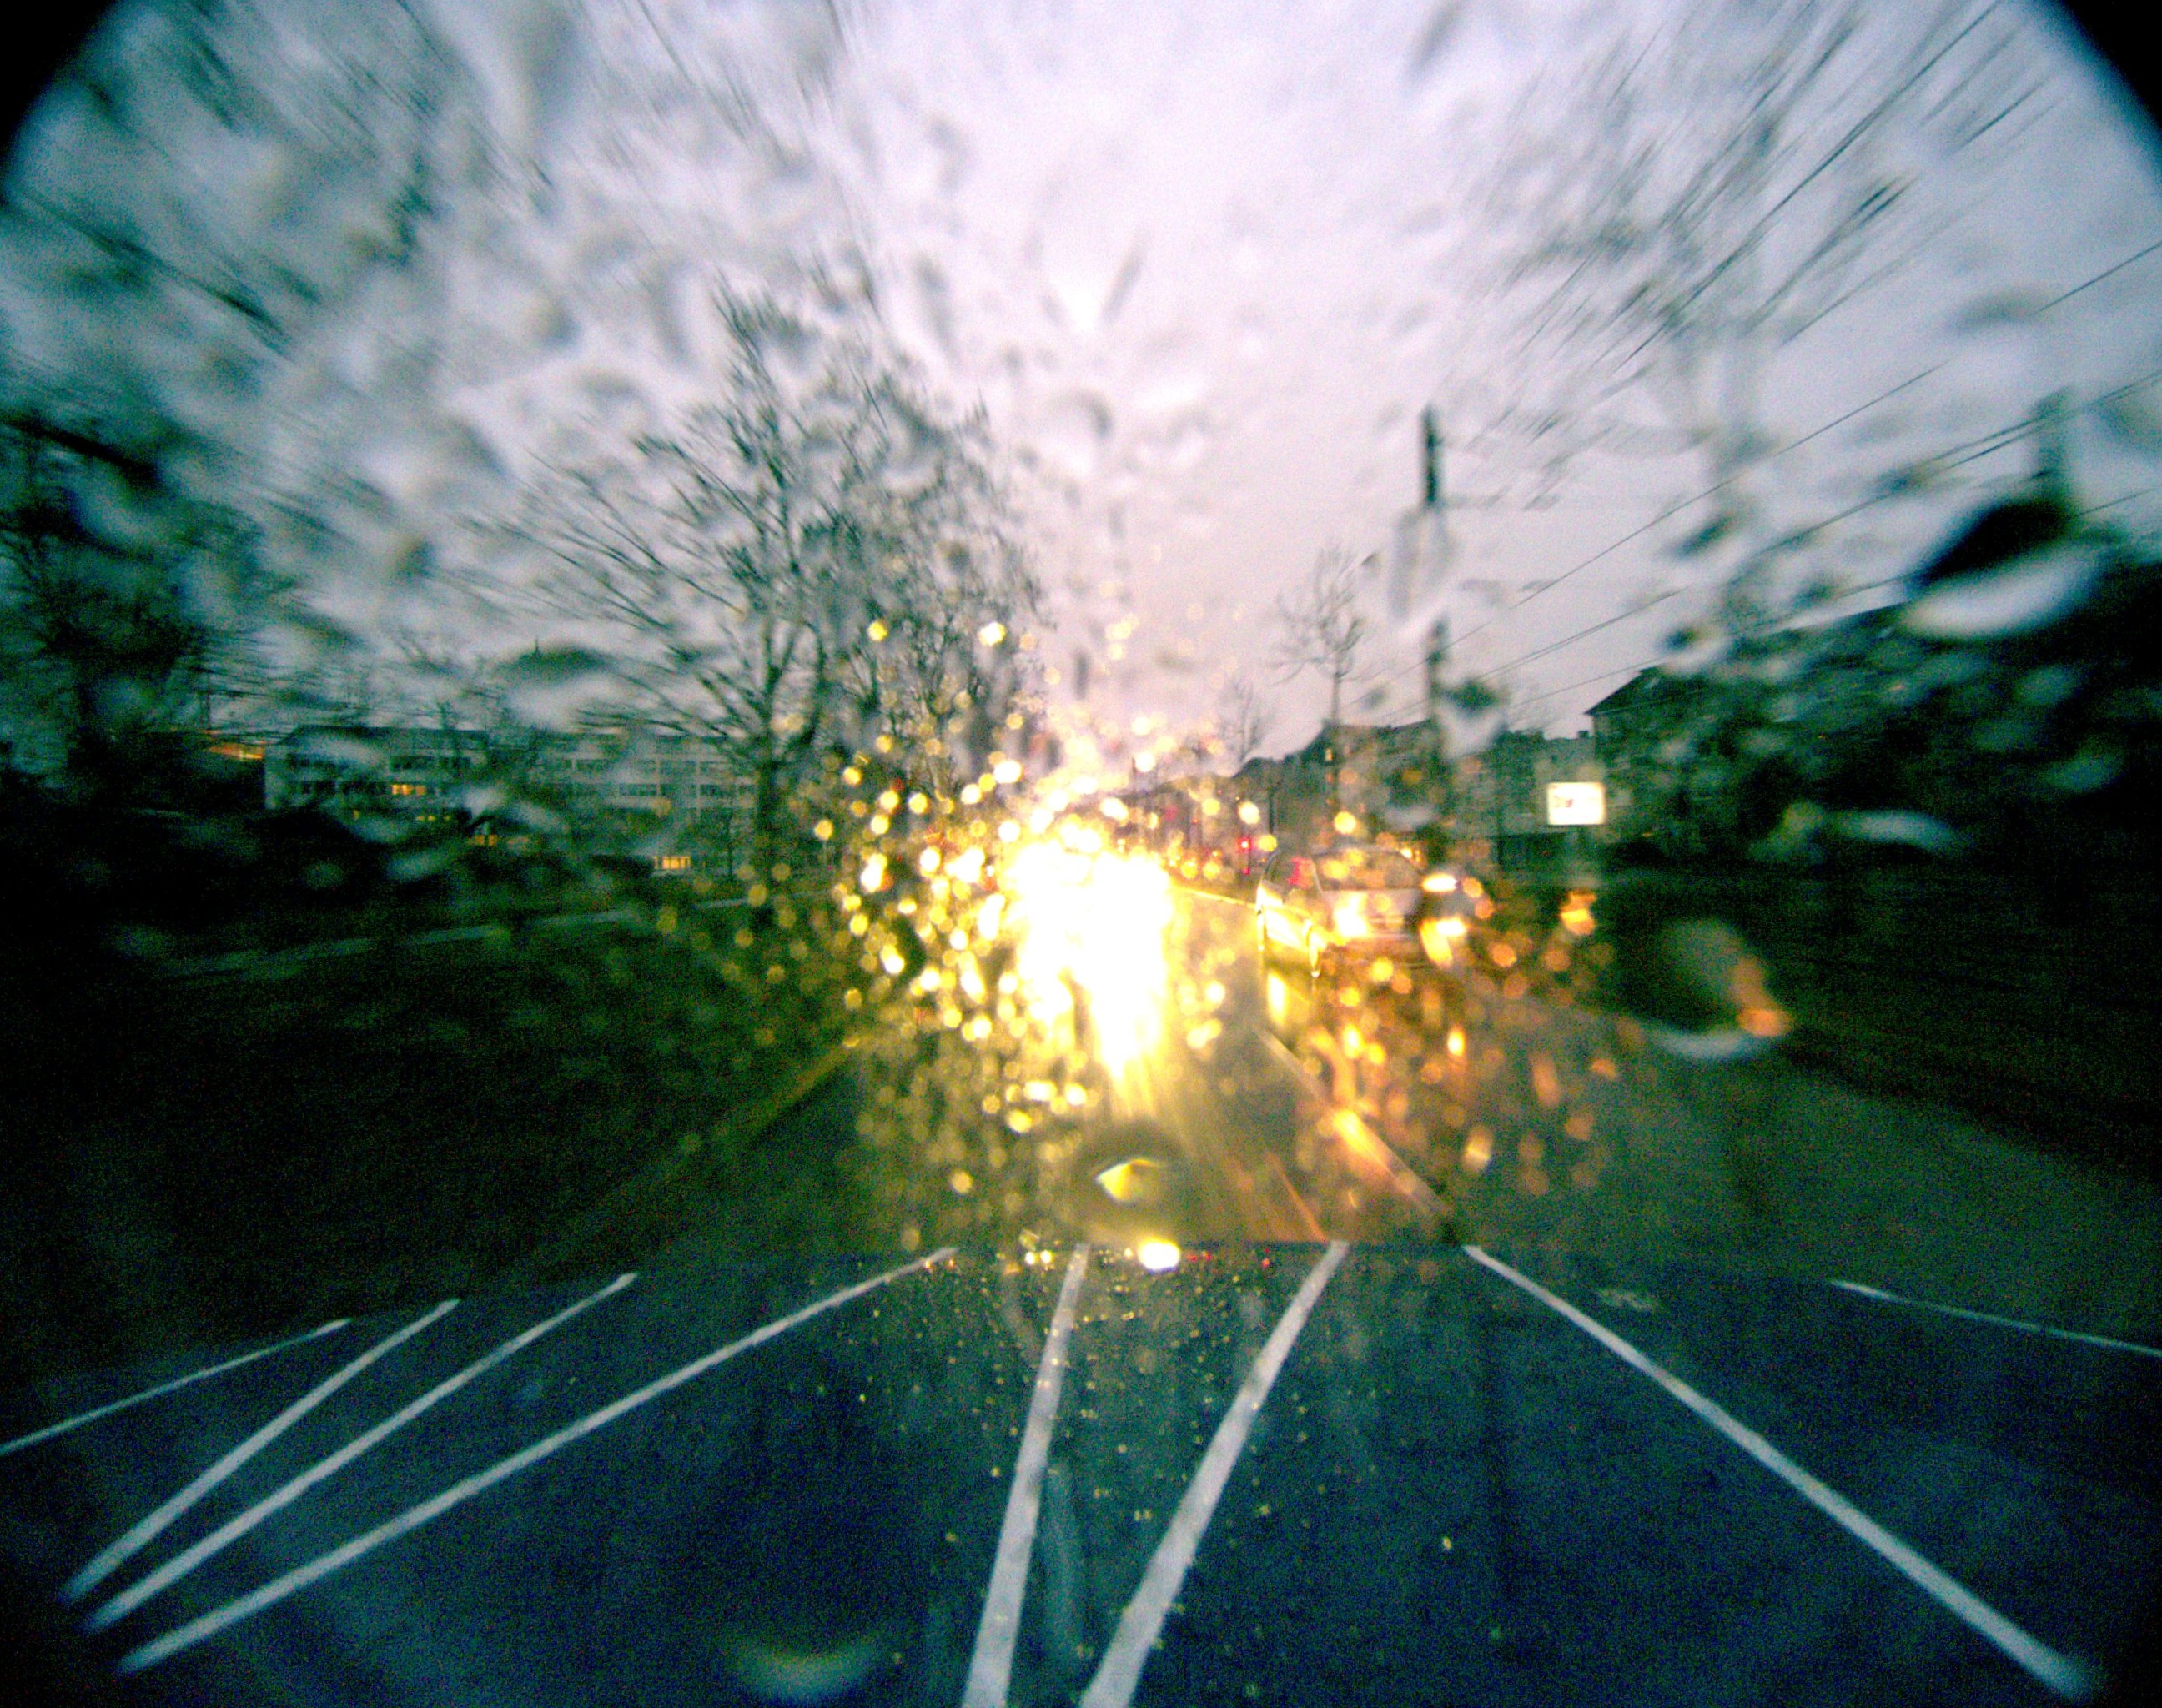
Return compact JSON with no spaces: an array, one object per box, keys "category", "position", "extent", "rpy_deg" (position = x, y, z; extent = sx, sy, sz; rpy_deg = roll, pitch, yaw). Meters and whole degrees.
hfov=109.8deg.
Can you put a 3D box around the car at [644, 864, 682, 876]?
[{"category":"car","position":[-56.708,2.155,103.153],"extent":[4.168,1.430,1.901],"rpy_deg":[-1,0,-20]}]

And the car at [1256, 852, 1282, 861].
[{"category":"car","position":[31.918,0.383,128.851],"extent":[3.900,1.467,1.776],"rpy_deg":[-1,0,-12]}]

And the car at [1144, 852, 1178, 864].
[{"category":"car","position":[12.341,0.598,117.472],"extent":[4.674,1.846,2.326],"rpy_deg":[-1,0,-8]}]

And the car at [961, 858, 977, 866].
[{"category":"car","position":[-19.058,1.404,129.372],"extent":[2.001,1.315,3.994],"rpy_deg":[-1,0,-17]}]

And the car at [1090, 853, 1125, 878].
[{"category":"car","position":[1.743,0.768,51.878],"extent":[1.845,1.546,4.215],"rpy_deg":[-3,0,-5]}]

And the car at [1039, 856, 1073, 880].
[{"category":"car","position":[-1.773,0.946,53.159],"extent":[1.950,1.546,4.214],"rpy_deg":[-3,0,-7]}]

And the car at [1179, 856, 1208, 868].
[{"category":"car","position":[12.447,0.887,84.375],"extent":[1.898,1.347,4.286],"rpy_deg":[-1,0,-9]}]

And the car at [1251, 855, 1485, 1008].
[{"category":"car","position":[3.442,0.817,9.914],"extent":[1.669,1.566,3.923],"rpy_deg":[-1,0,2]}]

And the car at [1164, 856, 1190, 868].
[{"category":"car","position":[11.412,0.944,90.471],"extent":[1.898,1.347,4.286],"rpy_deg":[-1,0,-8]}]

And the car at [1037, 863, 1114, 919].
[{"category":"car","position":[-0.132,0.936,21.012],"extent":[1.897,1.347,4.289],"rpy_deg":[-1,0,0]}]

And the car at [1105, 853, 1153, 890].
[{"category":"car","position":[2.205,0.796,36.122],"extent":[1.924,1.546,4.216],"rpy_deg":[-3,0,-1]}]
